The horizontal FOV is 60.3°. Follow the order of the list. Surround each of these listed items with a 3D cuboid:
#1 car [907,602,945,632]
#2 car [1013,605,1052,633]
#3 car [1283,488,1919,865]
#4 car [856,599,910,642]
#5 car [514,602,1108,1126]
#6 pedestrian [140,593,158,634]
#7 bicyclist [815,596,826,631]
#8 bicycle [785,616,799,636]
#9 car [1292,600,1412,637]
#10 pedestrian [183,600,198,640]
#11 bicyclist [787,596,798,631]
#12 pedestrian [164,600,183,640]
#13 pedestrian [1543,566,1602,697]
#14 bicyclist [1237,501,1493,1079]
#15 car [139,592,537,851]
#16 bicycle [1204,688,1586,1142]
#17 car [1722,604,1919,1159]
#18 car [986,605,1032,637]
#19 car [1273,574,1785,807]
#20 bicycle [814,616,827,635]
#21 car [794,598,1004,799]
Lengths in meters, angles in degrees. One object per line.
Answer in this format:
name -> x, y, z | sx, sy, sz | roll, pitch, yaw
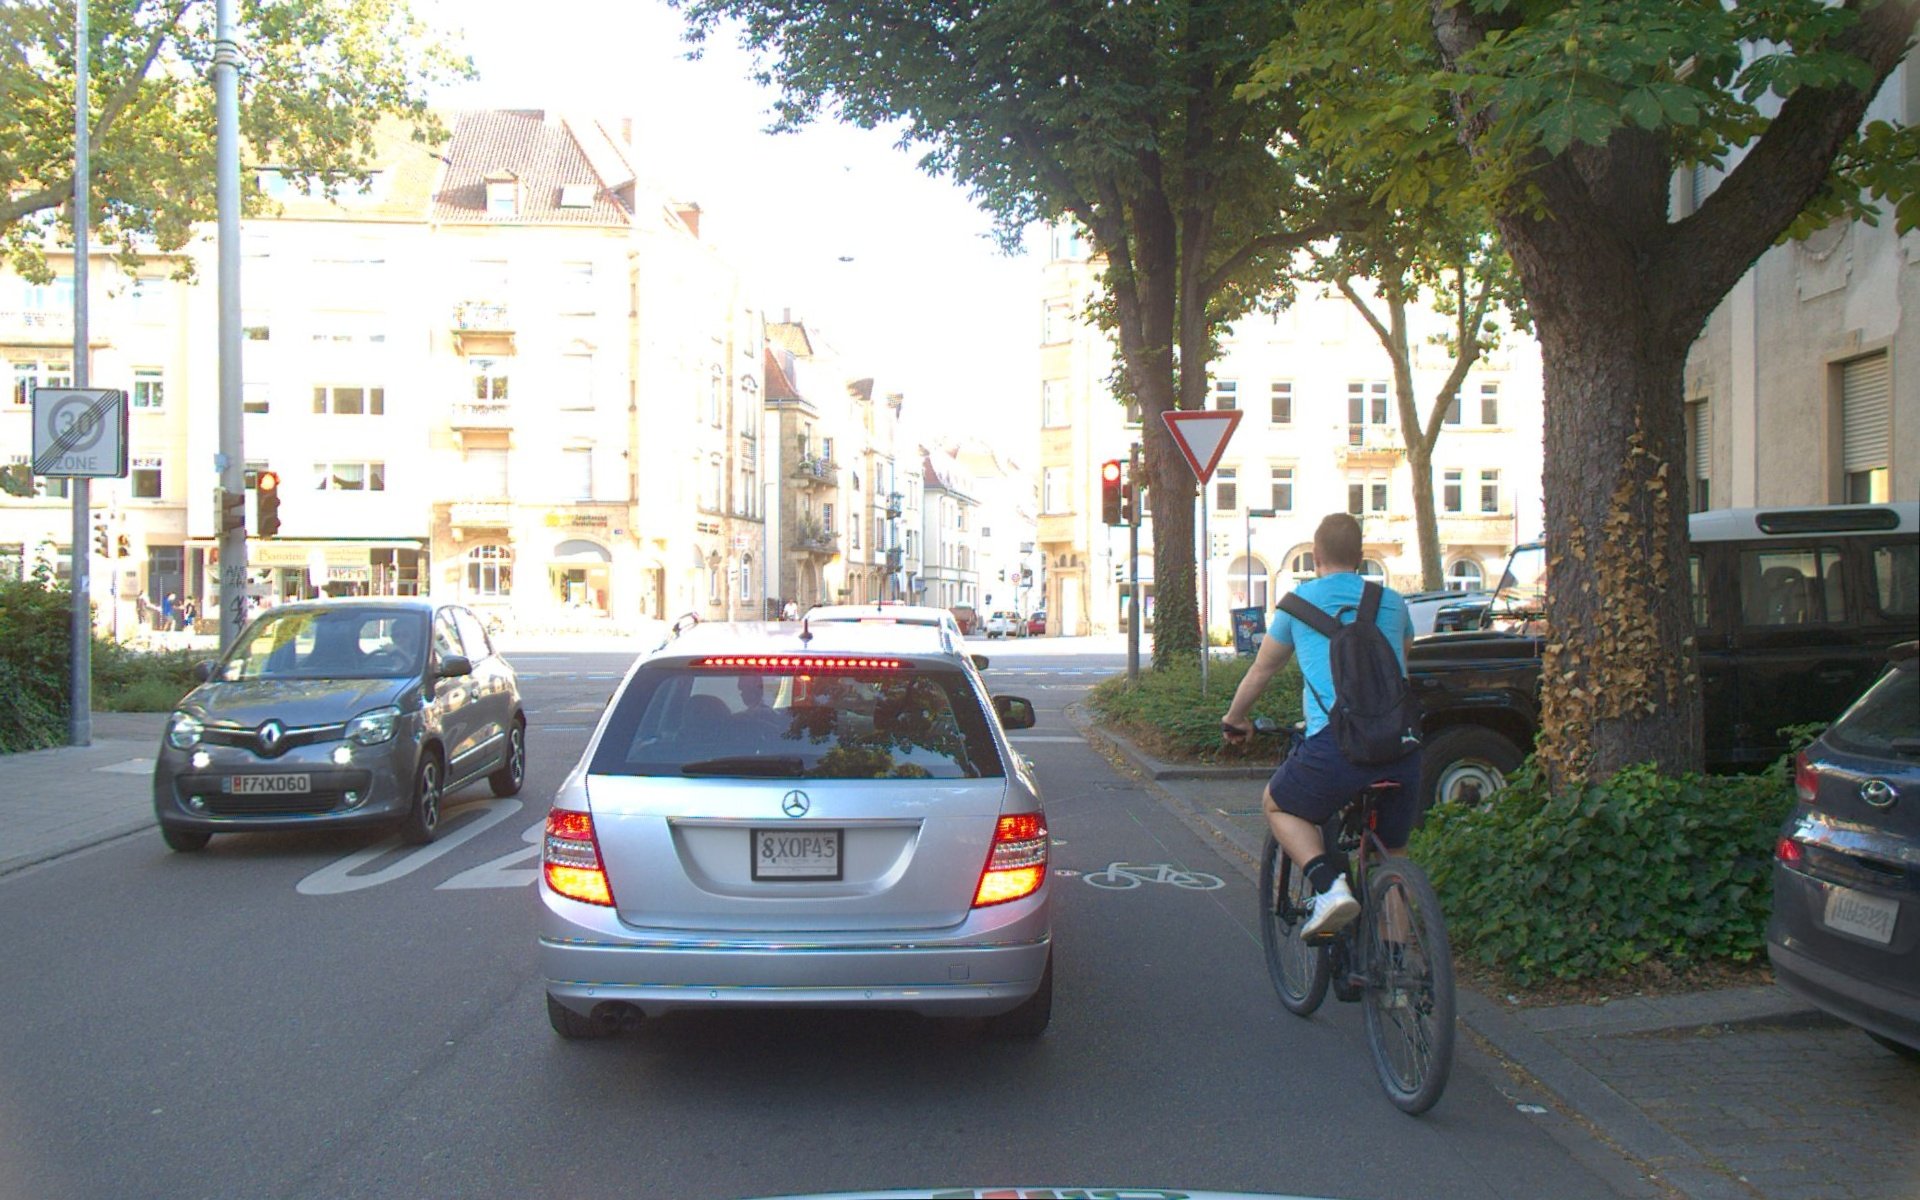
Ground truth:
car -> -2.107, 1.095, 102.381 | 1.615, 1.814, 3.866 | 0, -1, 10
car -> 4.494, 1.182, 102.122 | 1.684, 1.503, 4.004 | -4, 0, 11
car -> 4.422, 0.398, 10.240 | 4.402, 1.990, 1.791 | -2, 0, -4
car -> -3.670, 0.958, 79.730 | 1.896, 1.993, 4.153 | 0, 0, 7
car -> -0.512, 0.759, 6.442 | 1.657, 1.454, 3.490 | 1, 0, -3
pedestrian -> -30.651, 0.520, 62.540 | 0.557, 1.537, 0.499 | 0, 0, -20
bicyclist -> -6.183, 0.582, 73.224 | 0.457, 1.547, 0.693 | 0, 0, -4
bicycle -> -7.409, 1.130, 73.142 | 0.557, 0.849, 1.564 | 0, 0, -4
car -> 11.852, 0.552, 50.109 | 3.296, 1.087, 1.380 | 0, 0, -2
pedestrian -> -29.765, 0.764, 63.972 | 0.466, 1.537, 0.428 | 0, 0, -21
bicyclist -> -7.428, 0.582, 73.178 | 0.457, 1.541, 0.655 | 0, 0, -4
pedestrian -> -30.404, 0.768, 63.963 | 0.498, 1.537, 0.536 | 0, 0, -5
pedestrian -> 8.918, 0.454, 24.100 | 0.619, 1.877, 0.574 | 0, 0, -5
bicyclist -> 1.342, 0.599, 5.610 | 0.633, 1.806, 0.830 | 1, -1, -1
car -> -4.143, 0.711, 11.610 | 1.583, 1.528, 3.590 | 0, 0, -3
bicycle -> 1.363, 0.933, 5.620 | 0.727, 1.137, 2.013 | 1, 0, -1
car -> 4.328, 0.685, 4.571 | 3.675, 1.446, 1.627 | -2, -1, -4
car -> 2.548, 1.065, 85.891 | 1.684, 1.504, 4.004 | -2, 0, 11
car -> 4.400, 0.655, 13.082 | 3.415, 1.614, 1.708 | -1, 0, -7
bicycle -> -6.177, 1.122, 73.148 | 0.557, 0.849, 1.564 | 0, 0, -4
car -> -0.509, 0.707, 13.674 | 1.502, 1.415, 3.597 | 0, 0, -2
